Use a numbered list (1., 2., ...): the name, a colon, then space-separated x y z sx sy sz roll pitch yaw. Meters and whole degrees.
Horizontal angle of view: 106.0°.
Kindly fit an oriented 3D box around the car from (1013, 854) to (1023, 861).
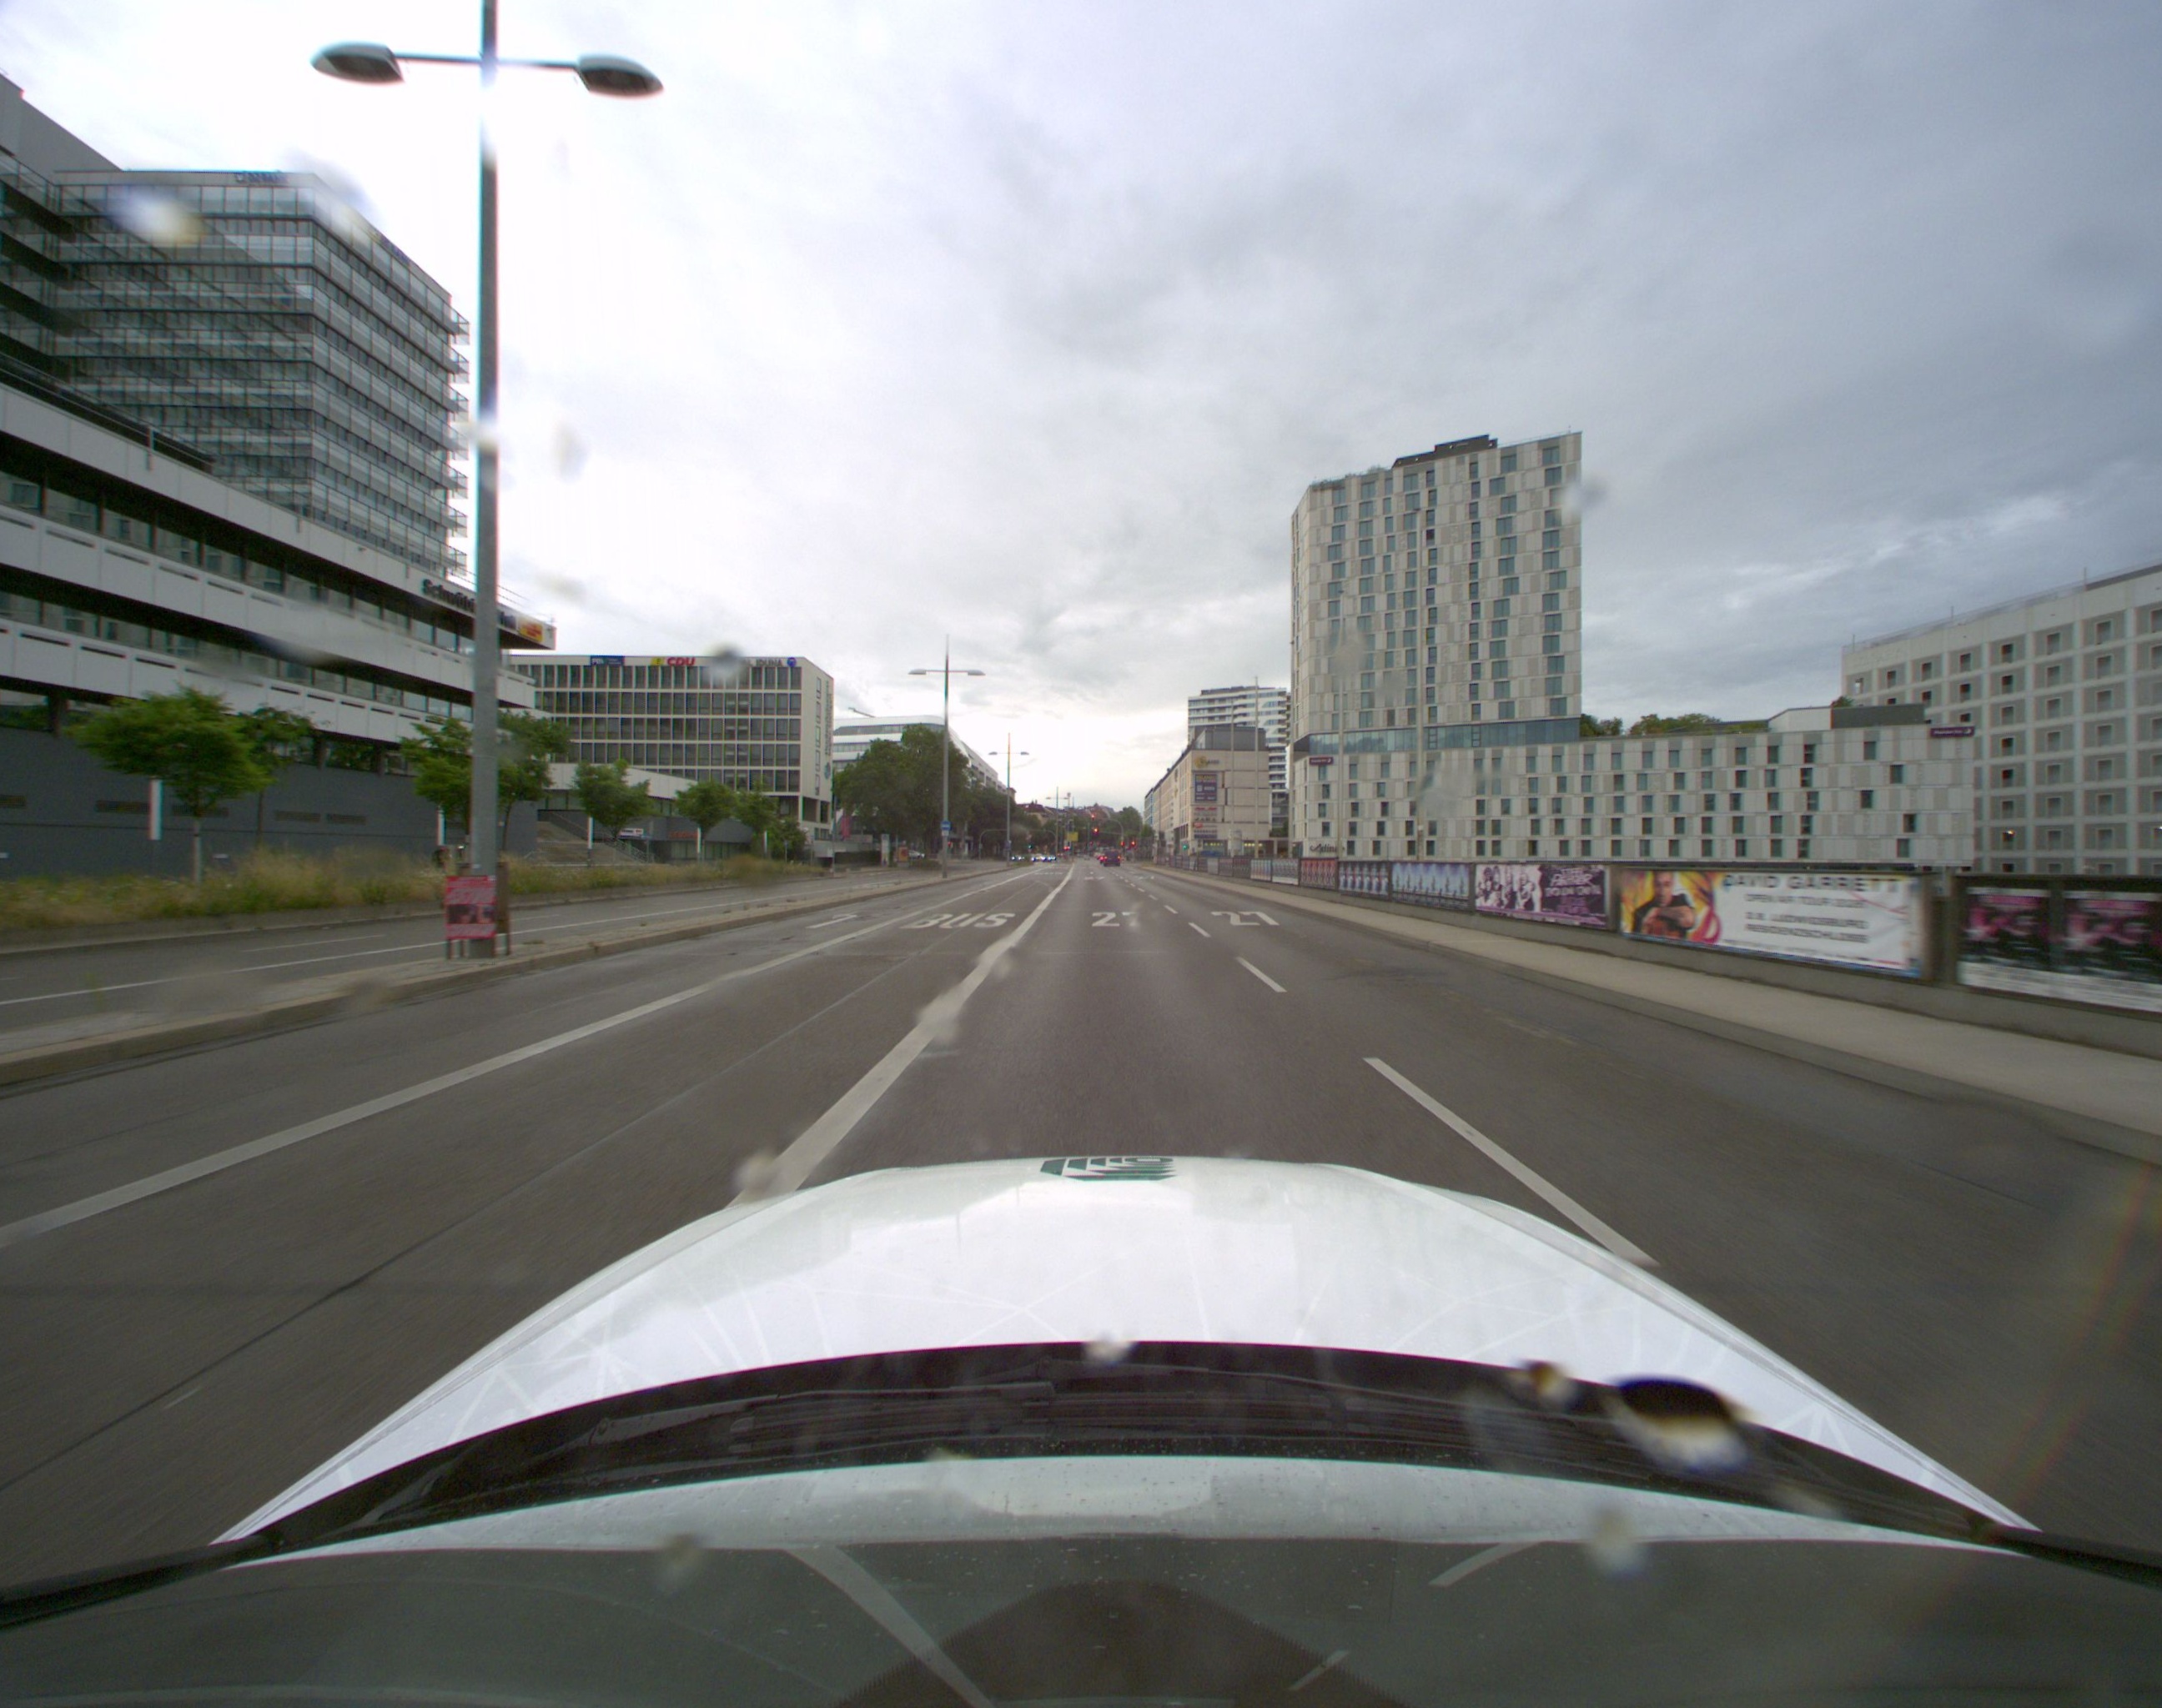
1. car: -13.155 0.733 170.479 1.737 1.328 4.225 -1 -1 0

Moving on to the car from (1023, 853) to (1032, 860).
1. car: -12.091 0.618 184.233 1.737 1.559 3.539 -1 -1 0

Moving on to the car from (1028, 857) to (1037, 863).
1. car: -10.148 1.324 170.977 1.737 1.257 3.539 0 0 0

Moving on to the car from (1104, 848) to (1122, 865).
1. car: 3.860 0.277 99.385 2.026 1.882 5.042 -3 0 1

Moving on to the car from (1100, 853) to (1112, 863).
1. car: 3.762 0.637 123.158 1.734 1.531 3.813 -1 -1 0

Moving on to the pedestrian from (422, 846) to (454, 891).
1. pedestrian: -26.457 0.589 33.533 0.781 1.808 0.628 -1 -1 0

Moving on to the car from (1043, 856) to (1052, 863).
1. car: -7.035 1.094 169.951 1.737 1.444 3.394 -1 -1 0

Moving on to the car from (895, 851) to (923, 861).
1. car: -30.268 0.353 143.565 4.467 1.631 1.903 -1 -1 16
